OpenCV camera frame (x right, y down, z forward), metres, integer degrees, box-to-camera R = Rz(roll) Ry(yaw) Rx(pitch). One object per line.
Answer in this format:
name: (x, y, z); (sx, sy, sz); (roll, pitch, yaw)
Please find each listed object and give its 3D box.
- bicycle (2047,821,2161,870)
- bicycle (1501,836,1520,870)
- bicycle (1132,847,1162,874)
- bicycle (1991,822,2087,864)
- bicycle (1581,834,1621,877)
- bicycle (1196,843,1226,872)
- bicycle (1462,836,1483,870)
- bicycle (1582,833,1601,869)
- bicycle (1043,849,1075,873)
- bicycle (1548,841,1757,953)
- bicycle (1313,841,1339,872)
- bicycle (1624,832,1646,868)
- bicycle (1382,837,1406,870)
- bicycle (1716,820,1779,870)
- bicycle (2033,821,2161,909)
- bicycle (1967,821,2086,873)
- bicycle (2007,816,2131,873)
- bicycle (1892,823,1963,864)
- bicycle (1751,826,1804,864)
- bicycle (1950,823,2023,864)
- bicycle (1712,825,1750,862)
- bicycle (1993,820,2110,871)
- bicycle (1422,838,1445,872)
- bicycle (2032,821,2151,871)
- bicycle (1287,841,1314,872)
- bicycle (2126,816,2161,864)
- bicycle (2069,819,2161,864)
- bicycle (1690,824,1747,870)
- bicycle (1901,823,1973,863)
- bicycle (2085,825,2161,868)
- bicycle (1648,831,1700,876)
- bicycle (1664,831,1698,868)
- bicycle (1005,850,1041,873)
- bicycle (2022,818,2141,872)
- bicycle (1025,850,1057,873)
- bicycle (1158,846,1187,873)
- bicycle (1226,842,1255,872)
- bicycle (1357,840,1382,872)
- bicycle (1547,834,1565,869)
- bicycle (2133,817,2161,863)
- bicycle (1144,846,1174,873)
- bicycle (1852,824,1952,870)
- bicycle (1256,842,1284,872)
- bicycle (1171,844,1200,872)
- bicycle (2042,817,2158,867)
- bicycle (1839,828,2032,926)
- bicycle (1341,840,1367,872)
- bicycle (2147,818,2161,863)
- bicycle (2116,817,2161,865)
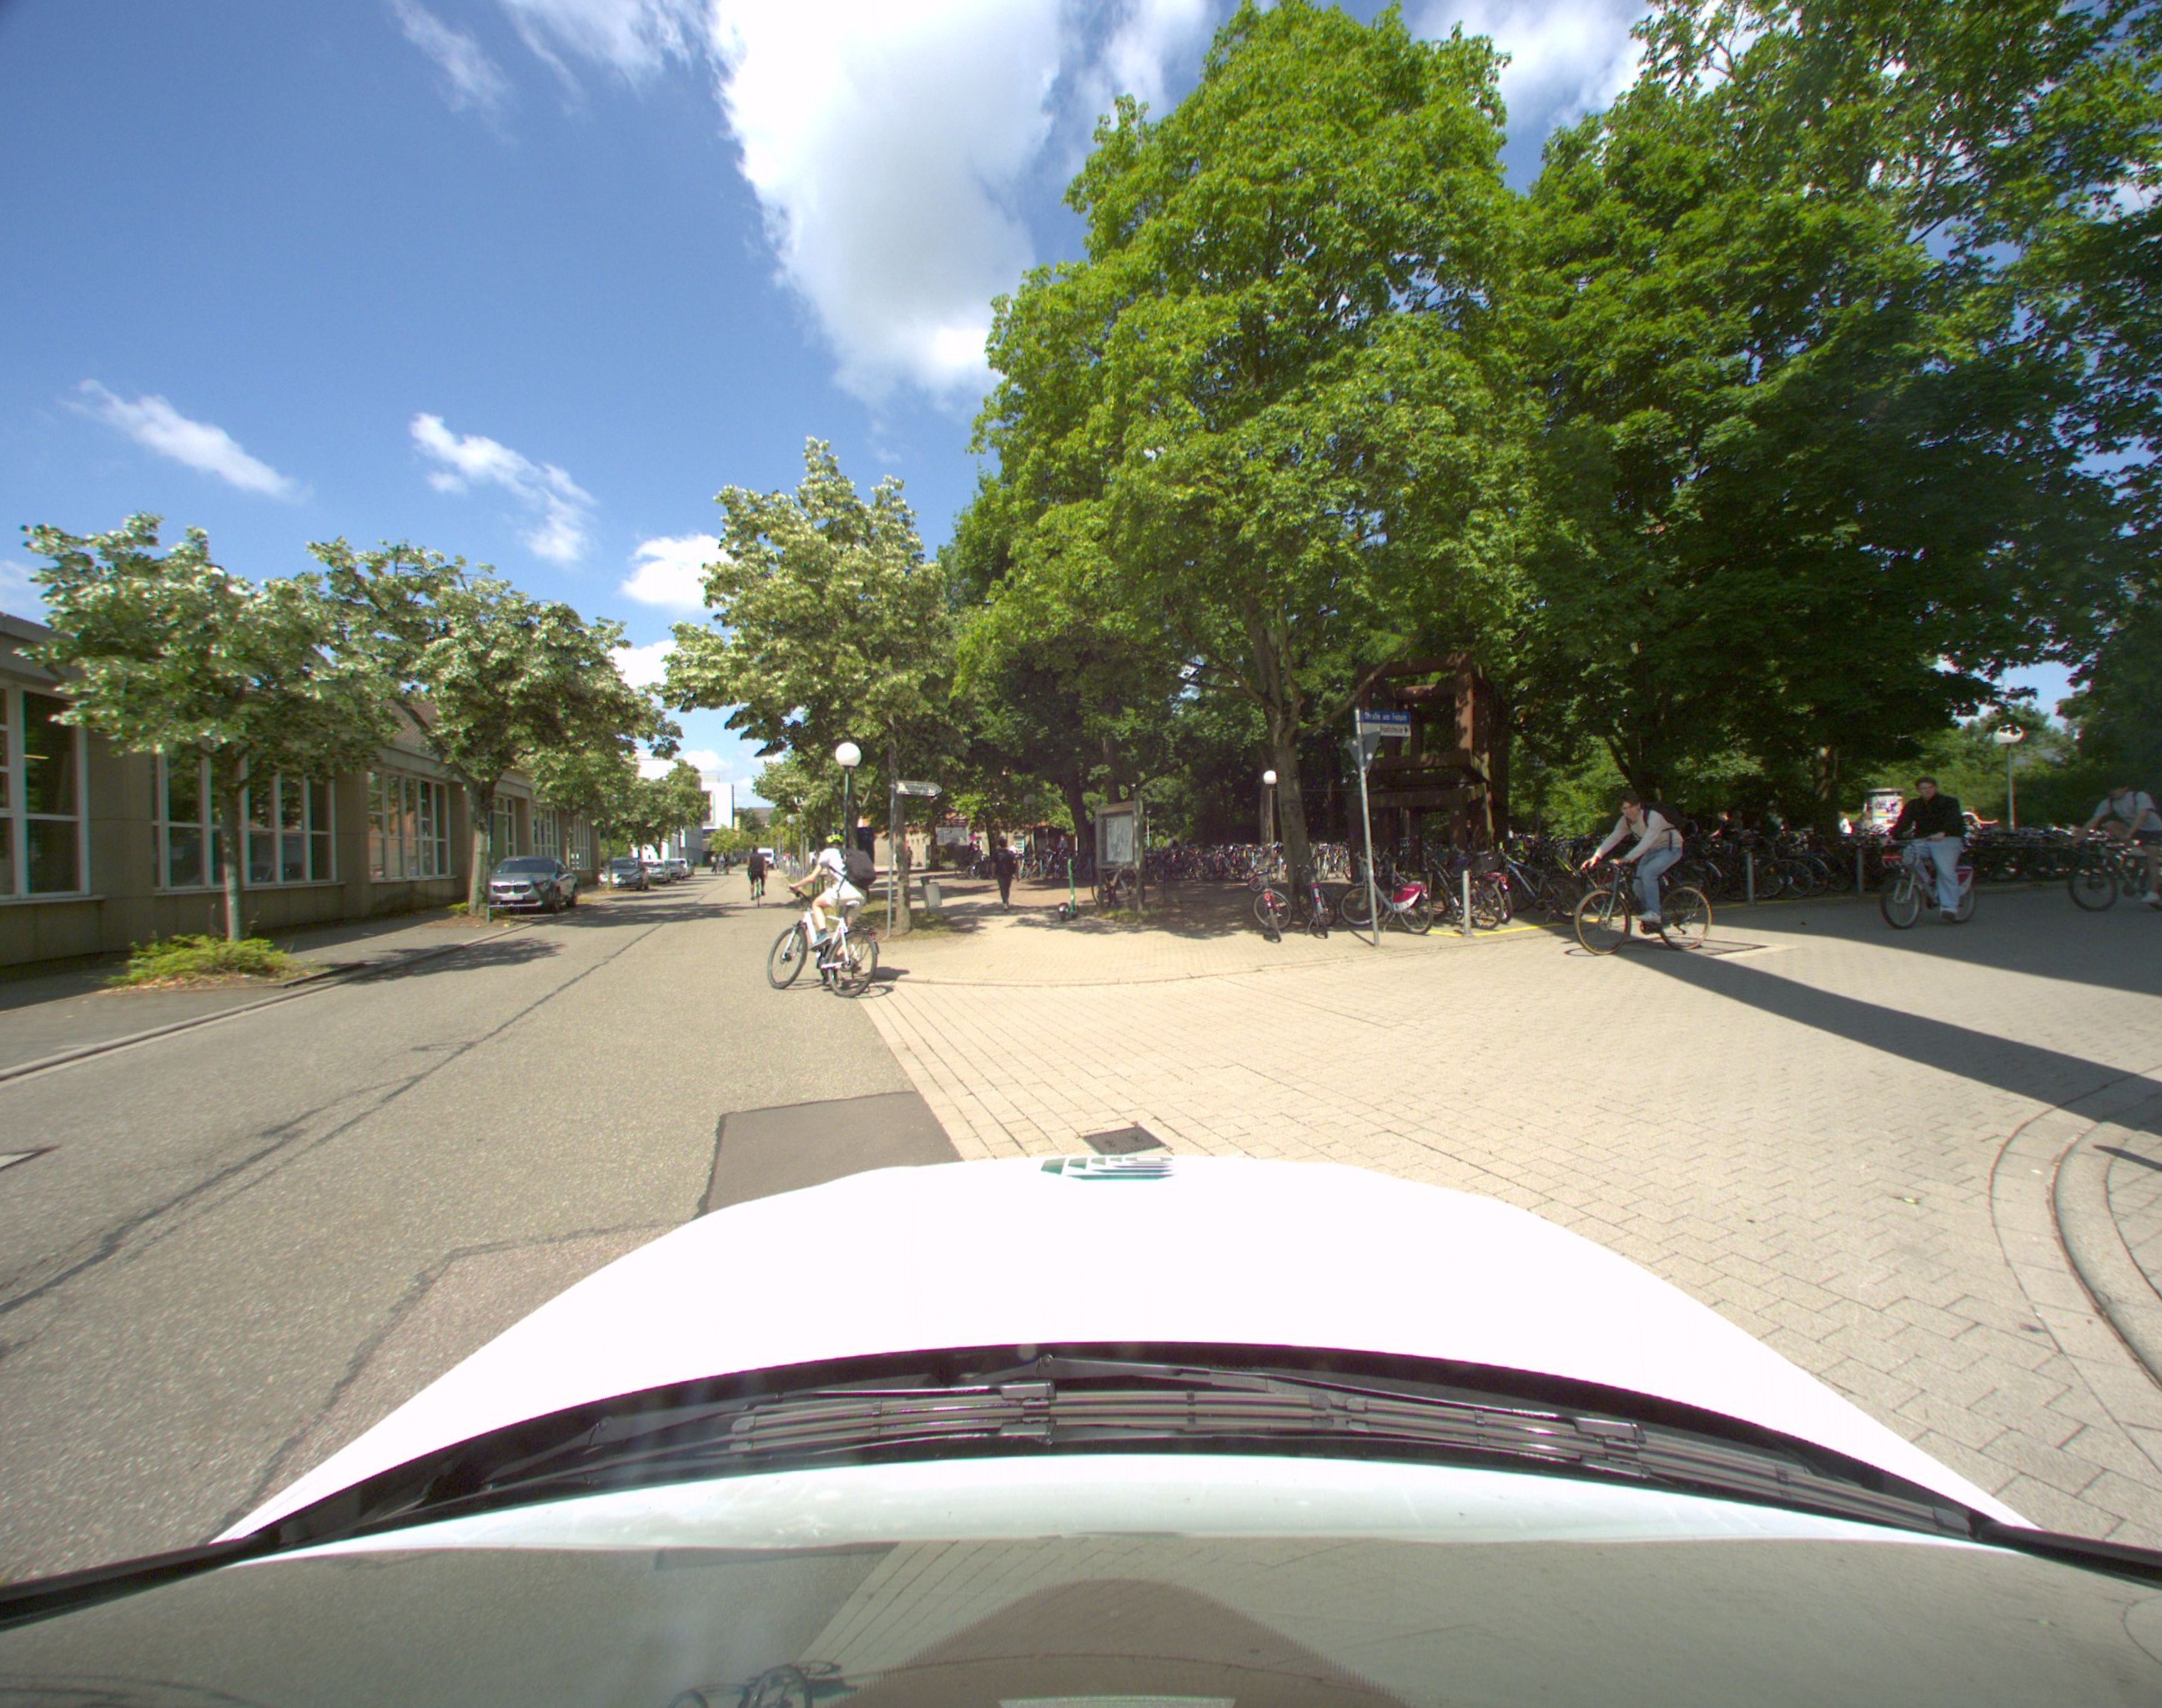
bicycle: (24.096, -0.197, 19.183); (1.678, 1.108, 0.477); (0, 1, 42)
bicycle: (14.257, -0.063, 27.020); (0.468, 1.083, 1.710); (0, 1, 31)
bicycle: (2.802, 0.262, 34.295); (0.468, 1.083, 1.871); (0, 1, 31)
bicycle: (25.737, -0.309, 21.929); (0.472, 1.083, 1.695); (-1, 1, -8)
bicycle: (13.937, 0.021, 21.868); (0.497, 1.108, 1.708); (-1, 1, 19)
bicycle: (5.163, 0.120, 32.277); (0.468, 1.083, 1.871); (0, 1, 31)
bicycle: (13.094, -0.056, 27.197); (0.468, 1.083, 1.710); (0, 1, 31)
bicycle: (16.097, -0.099, 25.716); (0.468, 1.083, 1.710); (0, 1, 31)
bicycle: (-1.041, 0.324, 39.284); (0.468, 1.083, 1.871); (0, 1, 37)
bicycle: (6.153, 0.447, 8.823); (1.807, 1.108, 0.641); (-2, 2, 1)
bicycle: (8.952, 0.064, 29.733); (0.468, 1.083, 1.871); (0, 1, 31)
bicycle: (17.258, -0.129, 25.388); (0.468, 1.083, 1.710); (0, 1, 31)
bicycle: (10.867, -0.020, 28.228); (0.468, 1.083, 1.871); (0, 1, 31)
bicycle: (16.725, -0.238, 20.476); (0.570, 1.199, 1.706); (-1, 1, 15)
bicycle: (14.748, 0.119, 11.577); (1.882, 1.171, 0.802); (-1, 2, -13)
bicycle: (21.022, -0.157, 18.142); (0.476, 1.108, 1.682); (-1, 1, -32)
bicycle: (21.735, -0.216, 17.952); (0.538, 1.198, 1.684); (-1, 1, -29)
bicycle: (23.491, -0.294, 22.630); (0.469, 1.083, 1.705); (-1, 1, 10)
bicycle: (20.425, -0.273, 23.913); (0.469, 1.083, 1.706); (-1, 1, 14)
bicycle: (24.852, -0.288, 22.387); (0.469, 1.083, 1.706); (-1, 1, 14)
bicycle: (19.524, -0.321, 24.485); (0.468, 1.083, 1.709); (0, 1, 23)
bicycle: (22.317, -0.201, 18.760); (0.568, 1.108, 1.682); (-1, 1, -32)
bicycle: (11.938, 0.011, 27.577); (0.468, 1.083, 1.871); (0, 1, 31)
bicycle: (23.418, -0.189, 18.907); (0.584, 1.108, 1.682); (-1, 1, -32)
bicycle: (8.190, 0.084, 30.356); (0.468, 1.083, 1.871); (0, 1, 31)
bicycle: (27.055, -0.351, 19.991); (0.476, 1.168, 1.682); (-1, 1, -34)
bicycle: (25.544, -0.305, 19.922); (1.678, 1.061, 0.477); (0, 1, 34)
bicycle: (16.140, -0.193, 20.663); (0.497, 1.108, 1.706); (-1, 1, 15)
bicycle: (24.039, -0.314, 22.909); (0.469, 1.083, 1.705); (-1, 1, 10)
bicycle: (25.351, -0.176, 19.444); (1.678, 1.018, 0.477); (0, 1, 34)
bicycle: (15.269, -0.030, 21.012); (0.497, 1.108, 1.706); (-1, 1, 15)
bicycle: (18.476, -0.154, 25.120); (0.468, 1.083, 1.709); (0, 1, 23)
bicycle: (-2.884, 0.379, 40.715); (1.868, 1.083, 0.469); (-2, 1, -39)
bicycle: (22.931, -0.208, 18.699); (0.476, 1.187, 1.682); (-1, 1, -32)
bicycle: (-1.945, 0.361, 40.076); (0.468, 1.083, 1.871); (0, 1, 37)
bicycle: (3.795, 0.209, 33.728); (0.468, 1.083, 1.871); (0, 1, 31)
bicycle: (6.172, 0.102, 31.466); (0.468, 1.083, 1.871); (0, 1, 31)
bicycle: (10.180, 0.050, 28.742); (0.468, 1.083, 1.871); (0, 1, 31)
bicycle: (15.127, -0.090, 25.935); (0.468, 1.083, 1.710); (0, 1, 31)
bicycle: (27.693, -0.351, 20.313); (0.472, 1.168, 1.776); (-1, 1, -8)
bicycle: (3.272, 0.218, 33.922); (0.468, 1.083, 1.871); (0, 1, 31)
bicycle: (20.495, -0.173, 20.365); (0.504, 1.108, 1.682); (-1, 1, -32)
bicycle: (7.174, 0.096, 30.811); (0.468, 1.083, 1.871); (0, 1, 31)
bicycle: (4.293, 0.142, 33.303); (0.468, 1.083, 1.871); (0, 1, 31)
bicycle: (24.402, -0.284, 19.536); (1.678, 1.157, 0.477); (0, 1, 42)
bicycle: (10.658, 0.264, 10.187); (1.878, 1.140, 0.673); (-1, 2, -7)
bicycle: (9.756, 0.055, 29.049); (0.468, 1.083, 1.871); (0, 1, 31)
bicycle: (28.475, -0.355, 20.656); (0.475, 1.168, 1.685); (-1, 1, -27)
bicycle: (26.542, -0.331, 19.813); (0.476, 1.168, 1.680); (-2, 1, -38)
